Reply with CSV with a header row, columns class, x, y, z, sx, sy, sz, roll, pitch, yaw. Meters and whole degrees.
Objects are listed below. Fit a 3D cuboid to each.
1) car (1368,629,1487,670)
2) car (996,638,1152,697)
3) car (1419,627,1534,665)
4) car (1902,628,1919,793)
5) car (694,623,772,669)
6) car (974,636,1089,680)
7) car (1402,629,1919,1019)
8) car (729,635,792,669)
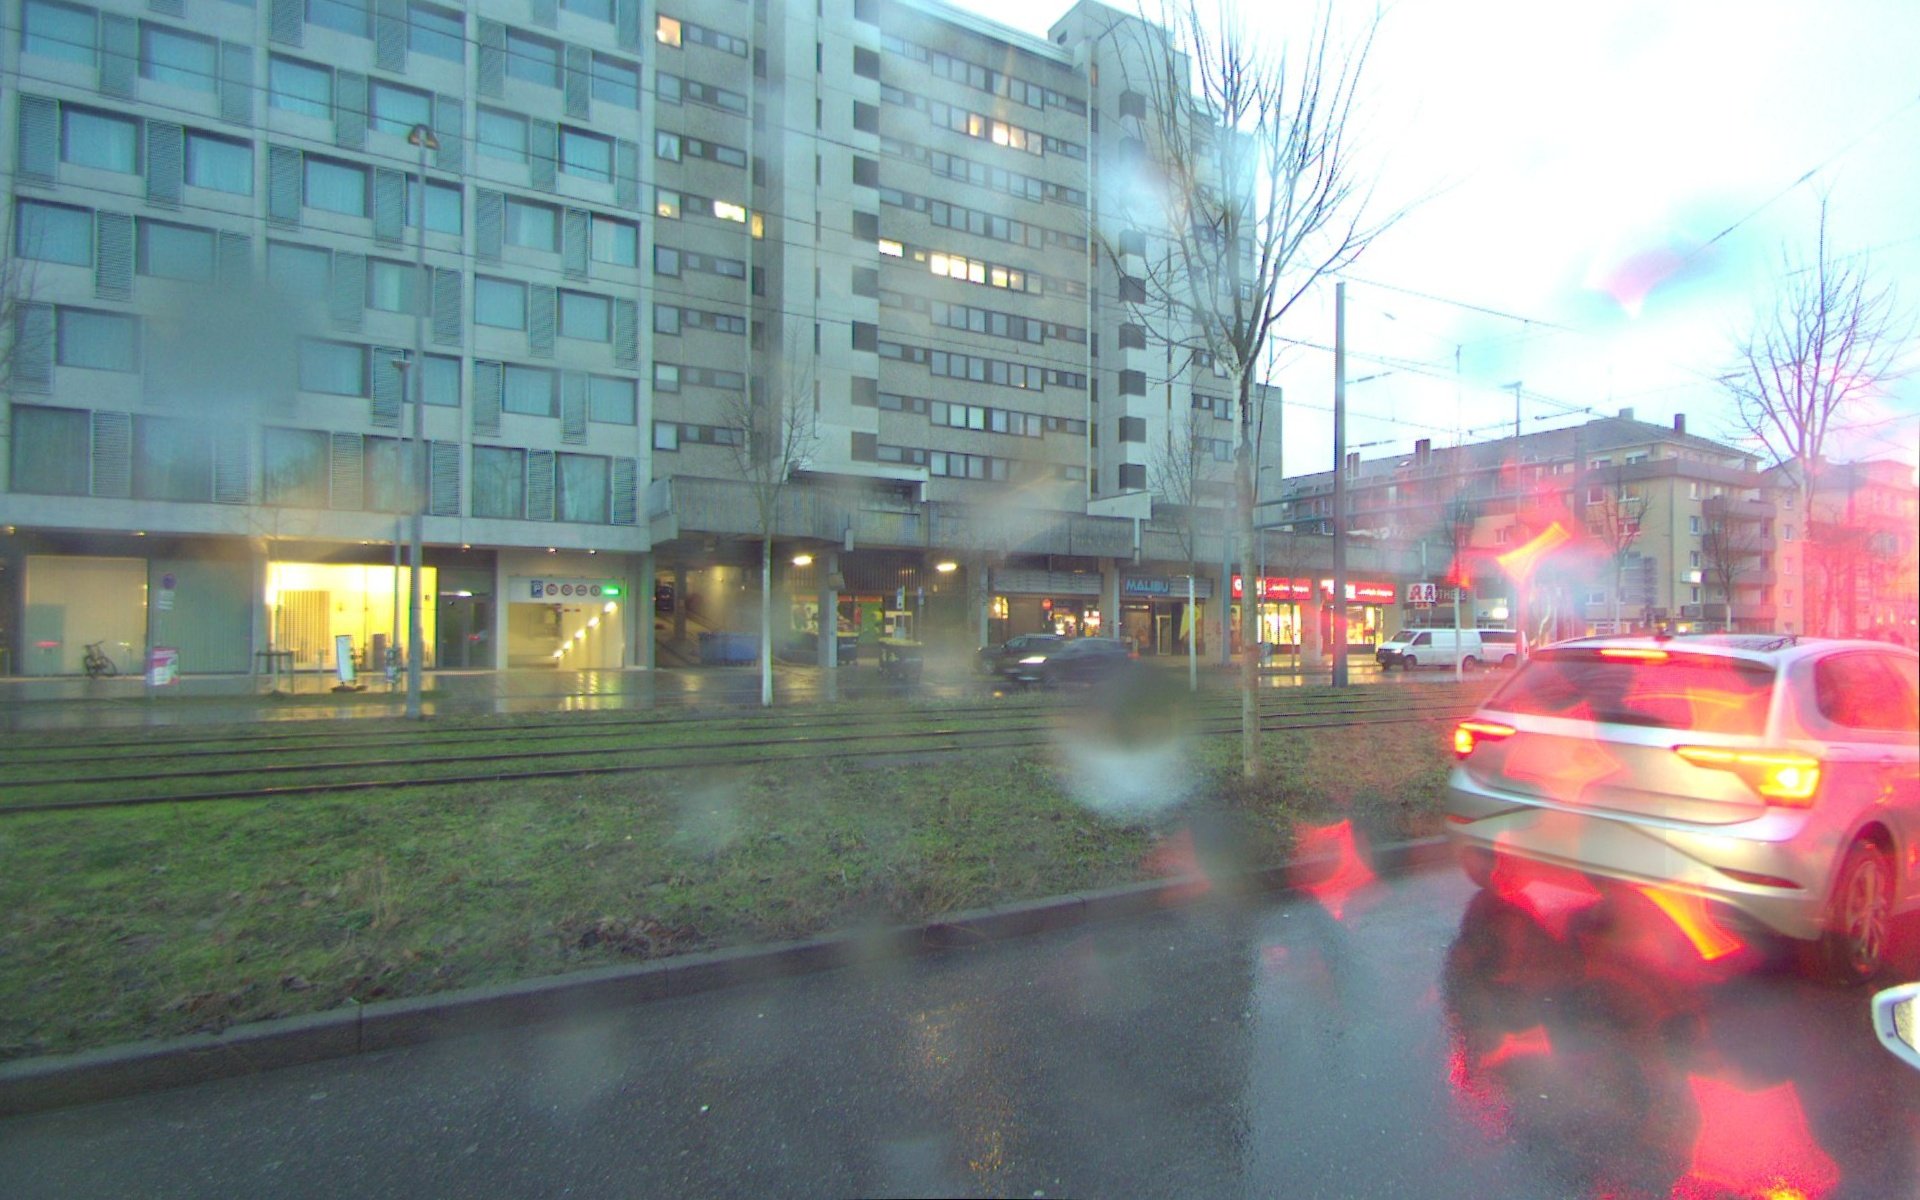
class,x,y,z,sx,sy,sz,roll,pitch,yaw
car,22.743,2.380,48.954,5.073,1.937,1.996,0,-2,-12
car,3.501,1.987,30.552,4.526,1.655,1.887,1,-2,-30
car,27.084,2.417,52.895,5.059,1.937,2.001,0,-2,15
car,10.647,1.015,9.175,4.562,1.424,1.837,2,-1,-31
car,-9.067,1.796,39.922,1.709,1.718,4.336,1,-2,-32
car,2.730,2.174,38.483,3.925,1.405,1.935,2,0,25
car,4.423,0.896,5.487,3.936,1.389,1.753,2,-1,-31
car,-8.725,2.231,43.766,1.580,1.377,3.411,1,-2,-32
